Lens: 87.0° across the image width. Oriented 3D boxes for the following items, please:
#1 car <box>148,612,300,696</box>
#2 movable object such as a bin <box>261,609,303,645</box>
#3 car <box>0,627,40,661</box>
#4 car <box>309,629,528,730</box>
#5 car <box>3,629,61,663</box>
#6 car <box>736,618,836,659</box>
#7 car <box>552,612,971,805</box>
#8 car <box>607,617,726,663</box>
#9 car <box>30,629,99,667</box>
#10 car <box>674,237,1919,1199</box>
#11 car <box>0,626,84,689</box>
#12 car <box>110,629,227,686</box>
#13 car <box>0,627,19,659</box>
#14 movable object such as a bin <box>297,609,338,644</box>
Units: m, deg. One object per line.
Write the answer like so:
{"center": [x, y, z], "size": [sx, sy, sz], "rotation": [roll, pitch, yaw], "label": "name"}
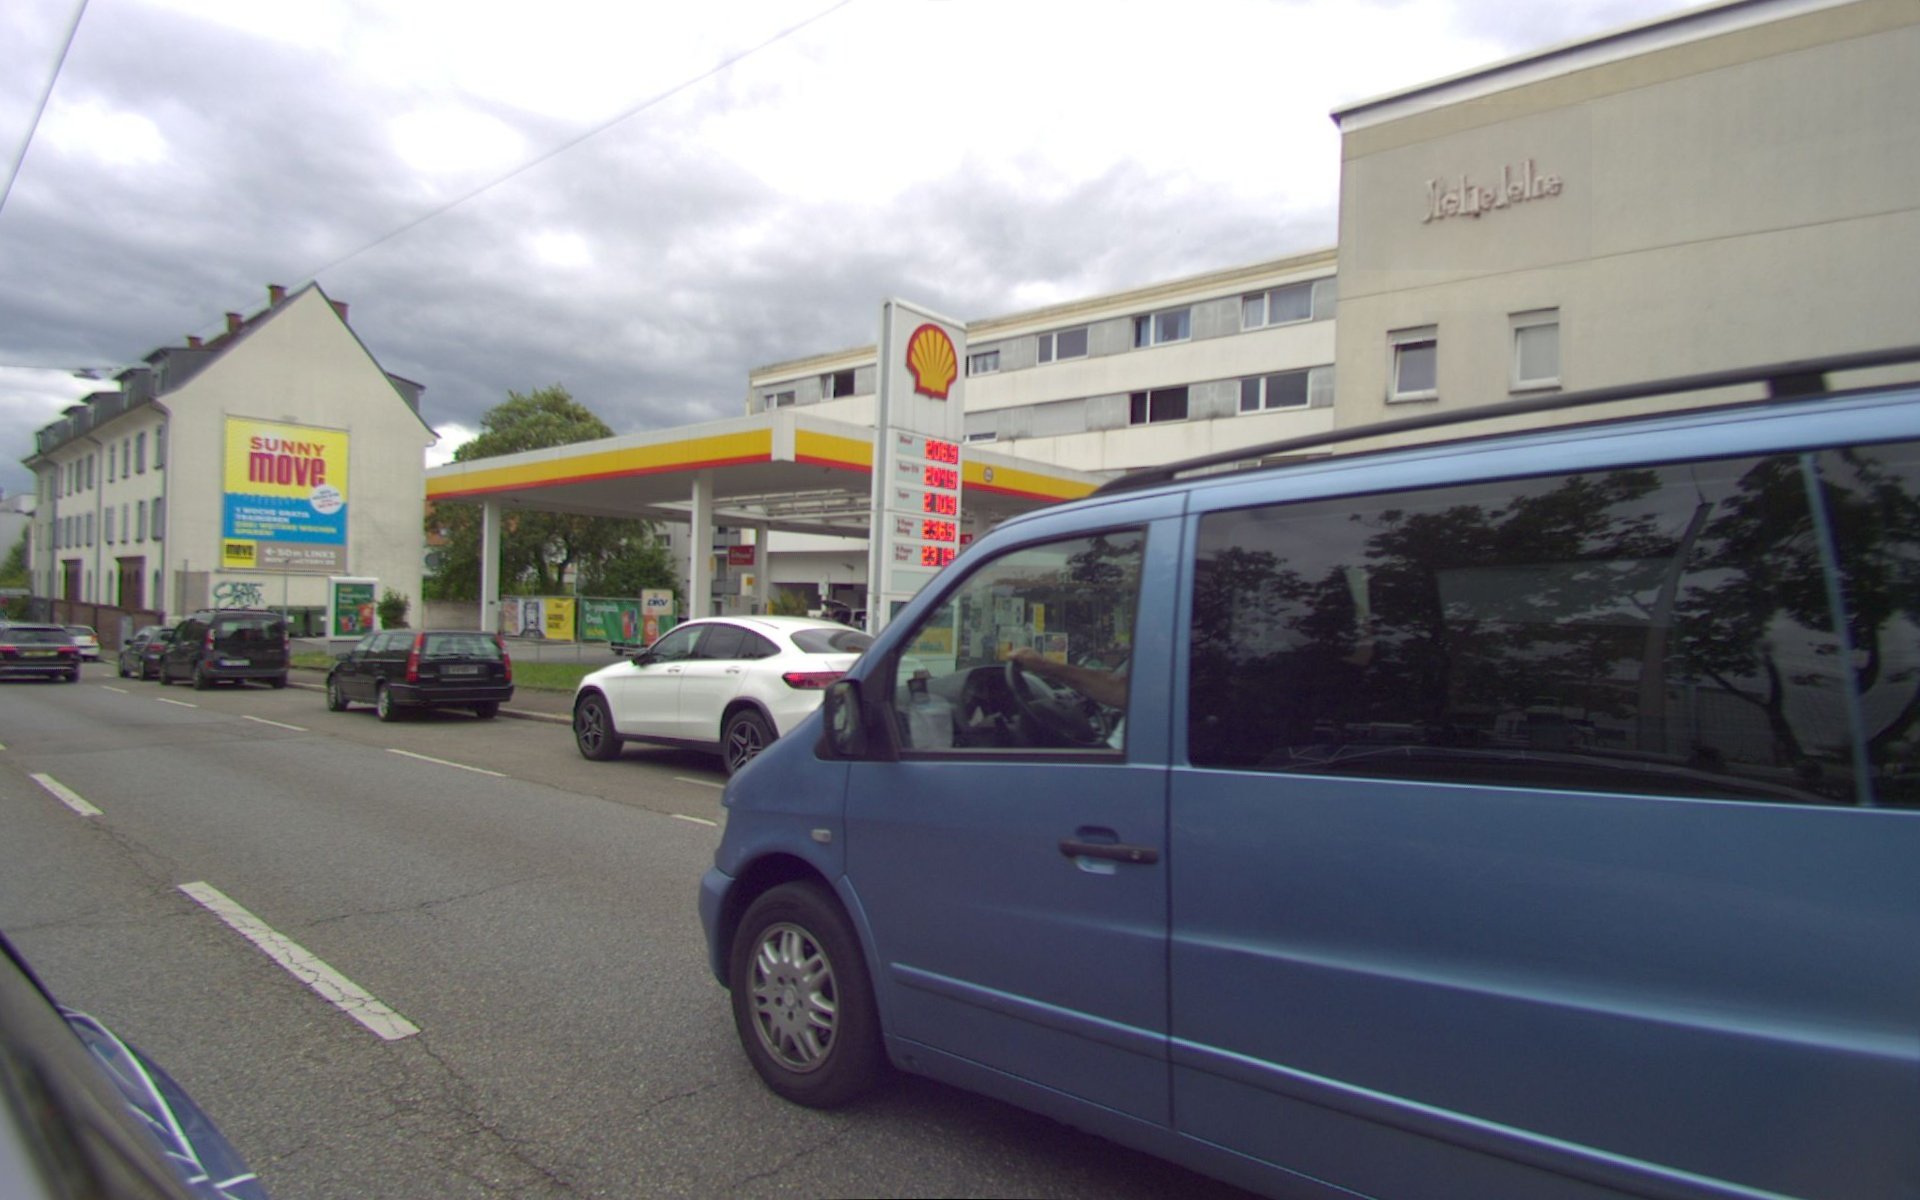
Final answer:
{"center": [-17.830, 1.261, 24.438], "size": [4.697, 1.849, 1.833], "rotation": [-2, -3, 40], "label": "car"}
{"center": [-30.129, 1.202, 44.961], "size": [1.104, 1.550, 1.251], "rotation": [-2, -4, 41], "label": "movable object such as a bin"}
{"center": [-46.543, 2.118, 49.498], "size": [4.079, 1.570, 1.709], "rotation": [-1, -5, 41], "label": "car"}
{"center": [-9.094, 1.230, 16.810], "size": [4.744, 1.442, 1.778], "rotation": [-2, -3, 43], "label": "car"}
{"center": [-42.627, 2.092, 46.470], "size": [3.602, 1.486, 1.531], "rotation": [-2, -3, 41], "label": "car"}
{"center": [-6.486, 1.420, 37.645], "size": [3.634, 1.431, 1.779], "rotation": [-2, -1, 41], "label": "car"}
{"center": [-2.261, 0.972, 10.664], "size": [4.698, 1.589, 1.895], "rotation": [-1, -3, 42], "label": "car"}
{"center": [-9.983, 1.332, 34.239], "size": [4.415, 1.431, 1.779], "rotation": [-2, -1, 41], "label": "car"}
{"center": [-35.452, 1.896, 40.036], "size": [3.664, 1.436, 1.602], "rotation": [-2, -3, 42], "label": "car"}
{"center": [1.407, 0.497, 2.557], "size": [4.587, 1.915, 1.911], "rotation": [-2, -3, 41], "label": "car"}
{"center": [-23.633, 1.405, 25.496], "size": [4.497, 1.477, 1.759], "rotation": [-1, -3, 42], "label": "car"}
{"center": [-21.921, 1.552, 27.967], "size": [4.216, 1.461, 1.772], "rotation": [-2, -3, 41], "label": "car"}
{"center": [-50.448, 2.226, 52.791], "size": [4.502, 1.611, 1.708], "rotation": [-2, -3, 43], "label": "car"}
{"center": [-29.186, 1.216, 45.997], "size": [1.104, 1.550, 1.251], "rotation": [-2, -4, 41], "label": "movable object such as a bin"}
